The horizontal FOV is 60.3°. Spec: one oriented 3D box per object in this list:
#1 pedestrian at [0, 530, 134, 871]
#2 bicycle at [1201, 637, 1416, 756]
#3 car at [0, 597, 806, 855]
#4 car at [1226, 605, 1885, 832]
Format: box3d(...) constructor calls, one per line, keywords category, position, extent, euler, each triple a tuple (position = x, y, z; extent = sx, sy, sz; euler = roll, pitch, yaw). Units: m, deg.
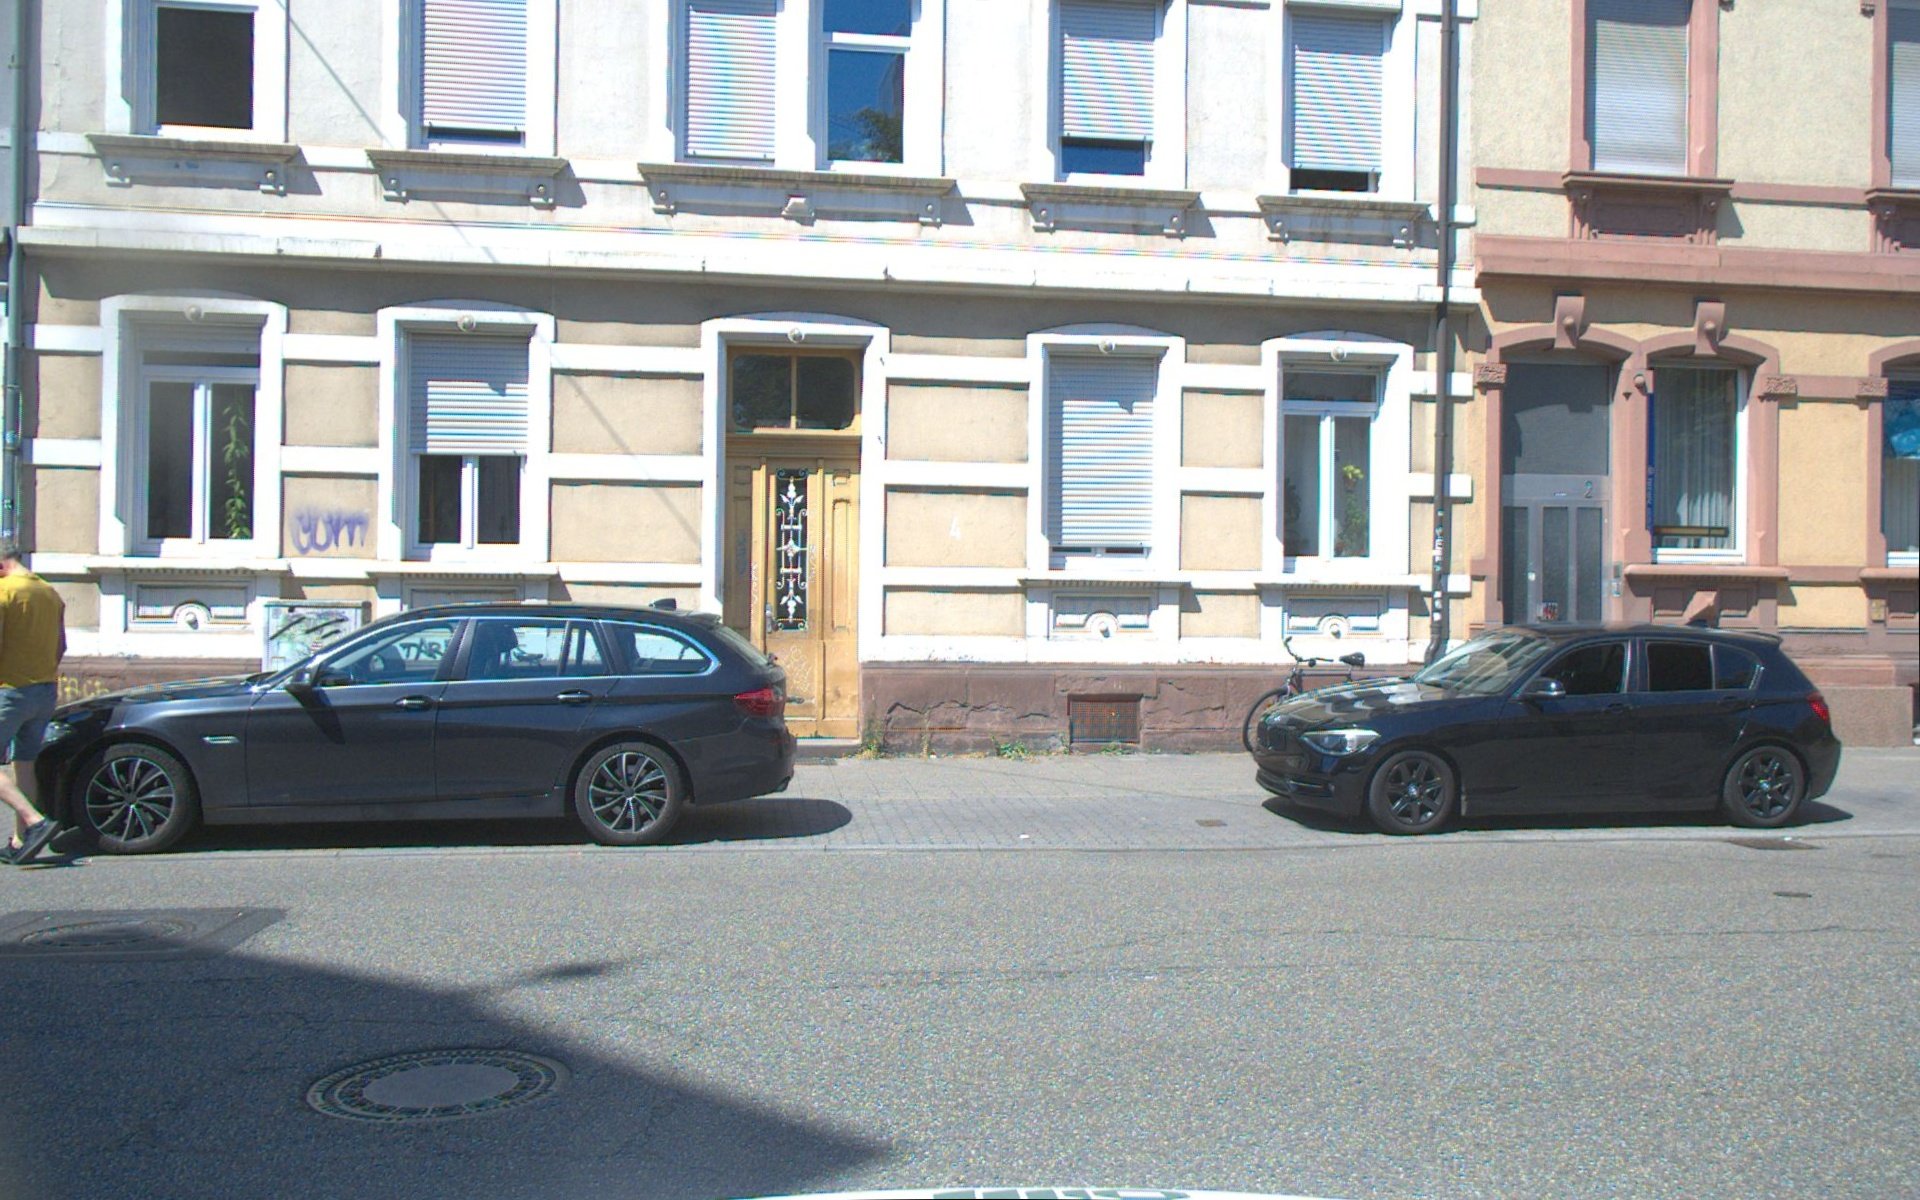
box3d(category="pedestrian", position=(-5.288, 0.560, 9.506), extent=(0.709, 1.886, 0.685), euler=(0, -1, 4))
box3d(category="bicycle", position=(3.283, 0.898, 15.580), extent=(1.968, 1.039, 0.423), euler=(0, 2, -11))
box3d(category="car", position=(-3.446, 0.735, 10.892), extent=(4.768, 1.462, 1.996), euler=(0, 0, -8))
box3d(category="car", position=(4.248, 0.791, 12.140), extent=(4.213, 1.394, 1.804), euler=(0, 2, -8))
